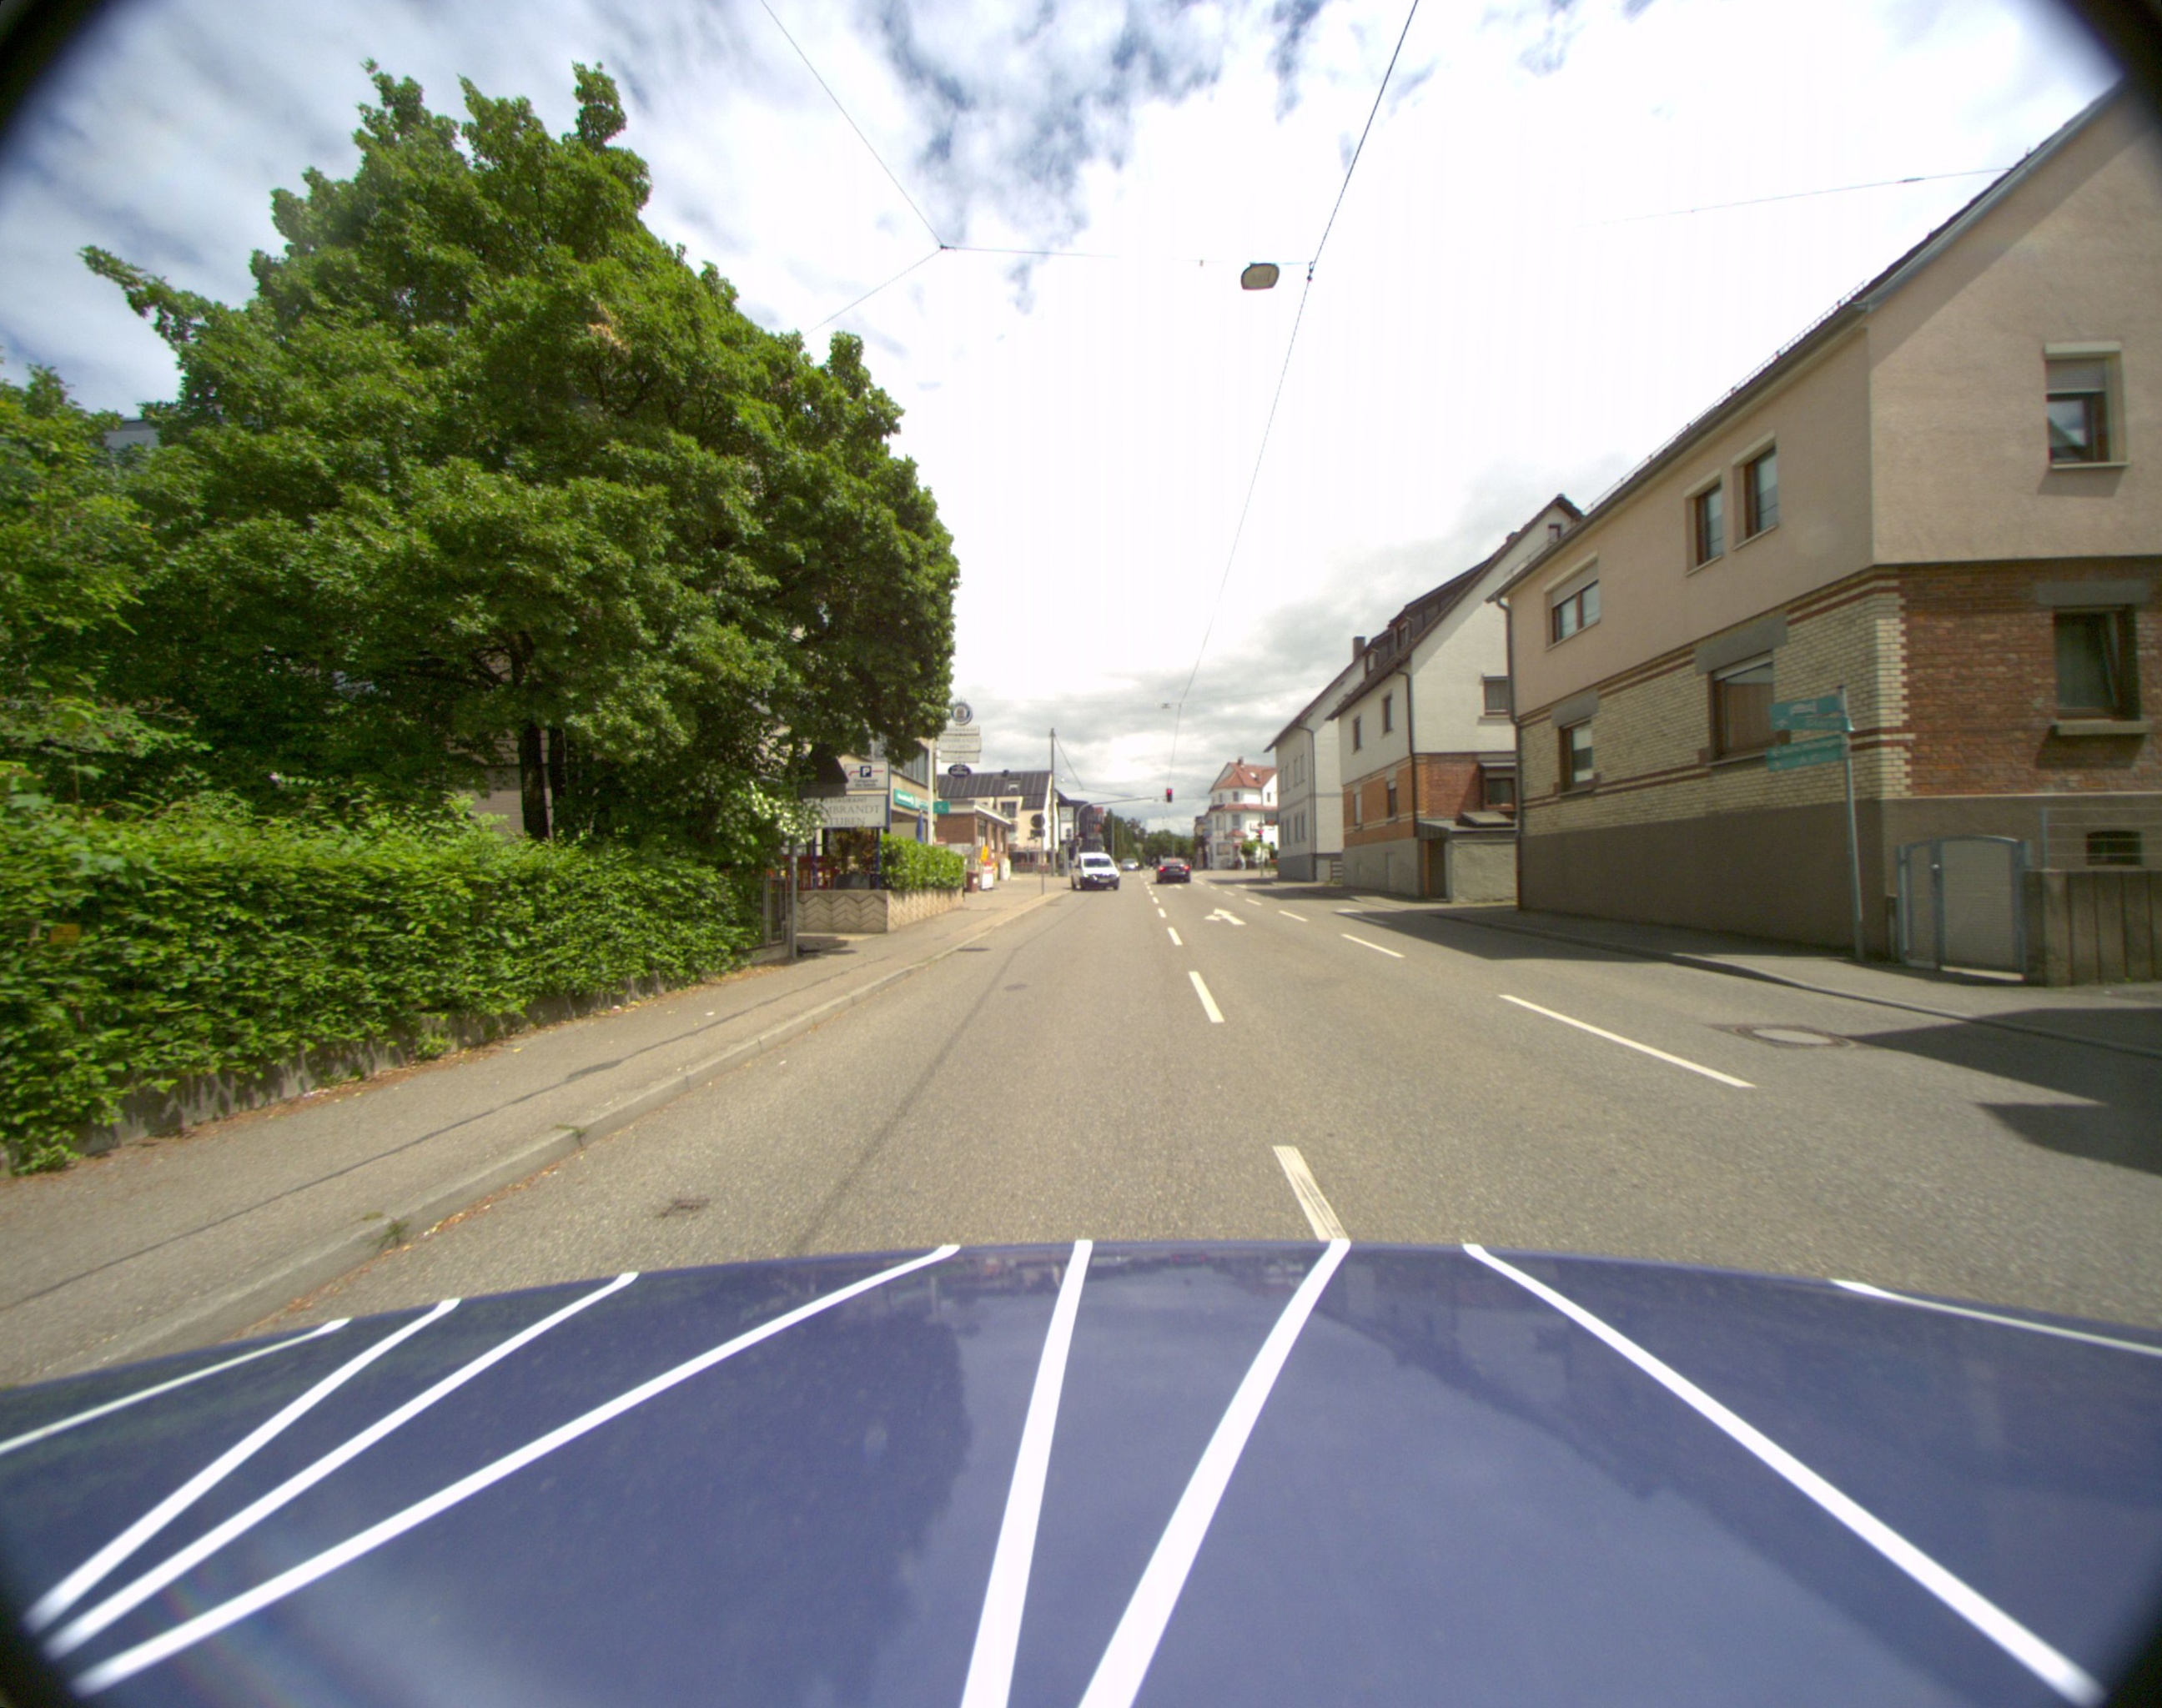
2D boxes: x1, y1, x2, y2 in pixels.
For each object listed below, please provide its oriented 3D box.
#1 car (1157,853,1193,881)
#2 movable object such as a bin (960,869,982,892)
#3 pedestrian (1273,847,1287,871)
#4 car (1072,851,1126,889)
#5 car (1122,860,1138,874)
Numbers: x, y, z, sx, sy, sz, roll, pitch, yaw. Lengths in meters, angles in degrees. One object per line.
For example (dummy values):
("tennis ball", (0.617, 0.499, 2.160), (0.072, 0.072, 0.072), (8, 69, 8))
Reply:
("car", (5.402, 0.761, 44.186), (1.794, 1.477, 4.002), (-2, -1, 4))
("movable object such as a bin", (-4.632, 1.121, 32.081), (0.789, 0.909, 0.470), (4, 1, 3))
("pedestrian", (14.026, 0.354, 53.670), (0.586, 1.599, 0.680), (-3, 1, -30))
("car", (0.800, 0.749, 37.100), (1.895, 1.718, 4.290), (-1, 0, -8))
("car", (5.749, 1.505, 88.904), (1.794, 1.477, 4.002), (-2, -1, 4))
